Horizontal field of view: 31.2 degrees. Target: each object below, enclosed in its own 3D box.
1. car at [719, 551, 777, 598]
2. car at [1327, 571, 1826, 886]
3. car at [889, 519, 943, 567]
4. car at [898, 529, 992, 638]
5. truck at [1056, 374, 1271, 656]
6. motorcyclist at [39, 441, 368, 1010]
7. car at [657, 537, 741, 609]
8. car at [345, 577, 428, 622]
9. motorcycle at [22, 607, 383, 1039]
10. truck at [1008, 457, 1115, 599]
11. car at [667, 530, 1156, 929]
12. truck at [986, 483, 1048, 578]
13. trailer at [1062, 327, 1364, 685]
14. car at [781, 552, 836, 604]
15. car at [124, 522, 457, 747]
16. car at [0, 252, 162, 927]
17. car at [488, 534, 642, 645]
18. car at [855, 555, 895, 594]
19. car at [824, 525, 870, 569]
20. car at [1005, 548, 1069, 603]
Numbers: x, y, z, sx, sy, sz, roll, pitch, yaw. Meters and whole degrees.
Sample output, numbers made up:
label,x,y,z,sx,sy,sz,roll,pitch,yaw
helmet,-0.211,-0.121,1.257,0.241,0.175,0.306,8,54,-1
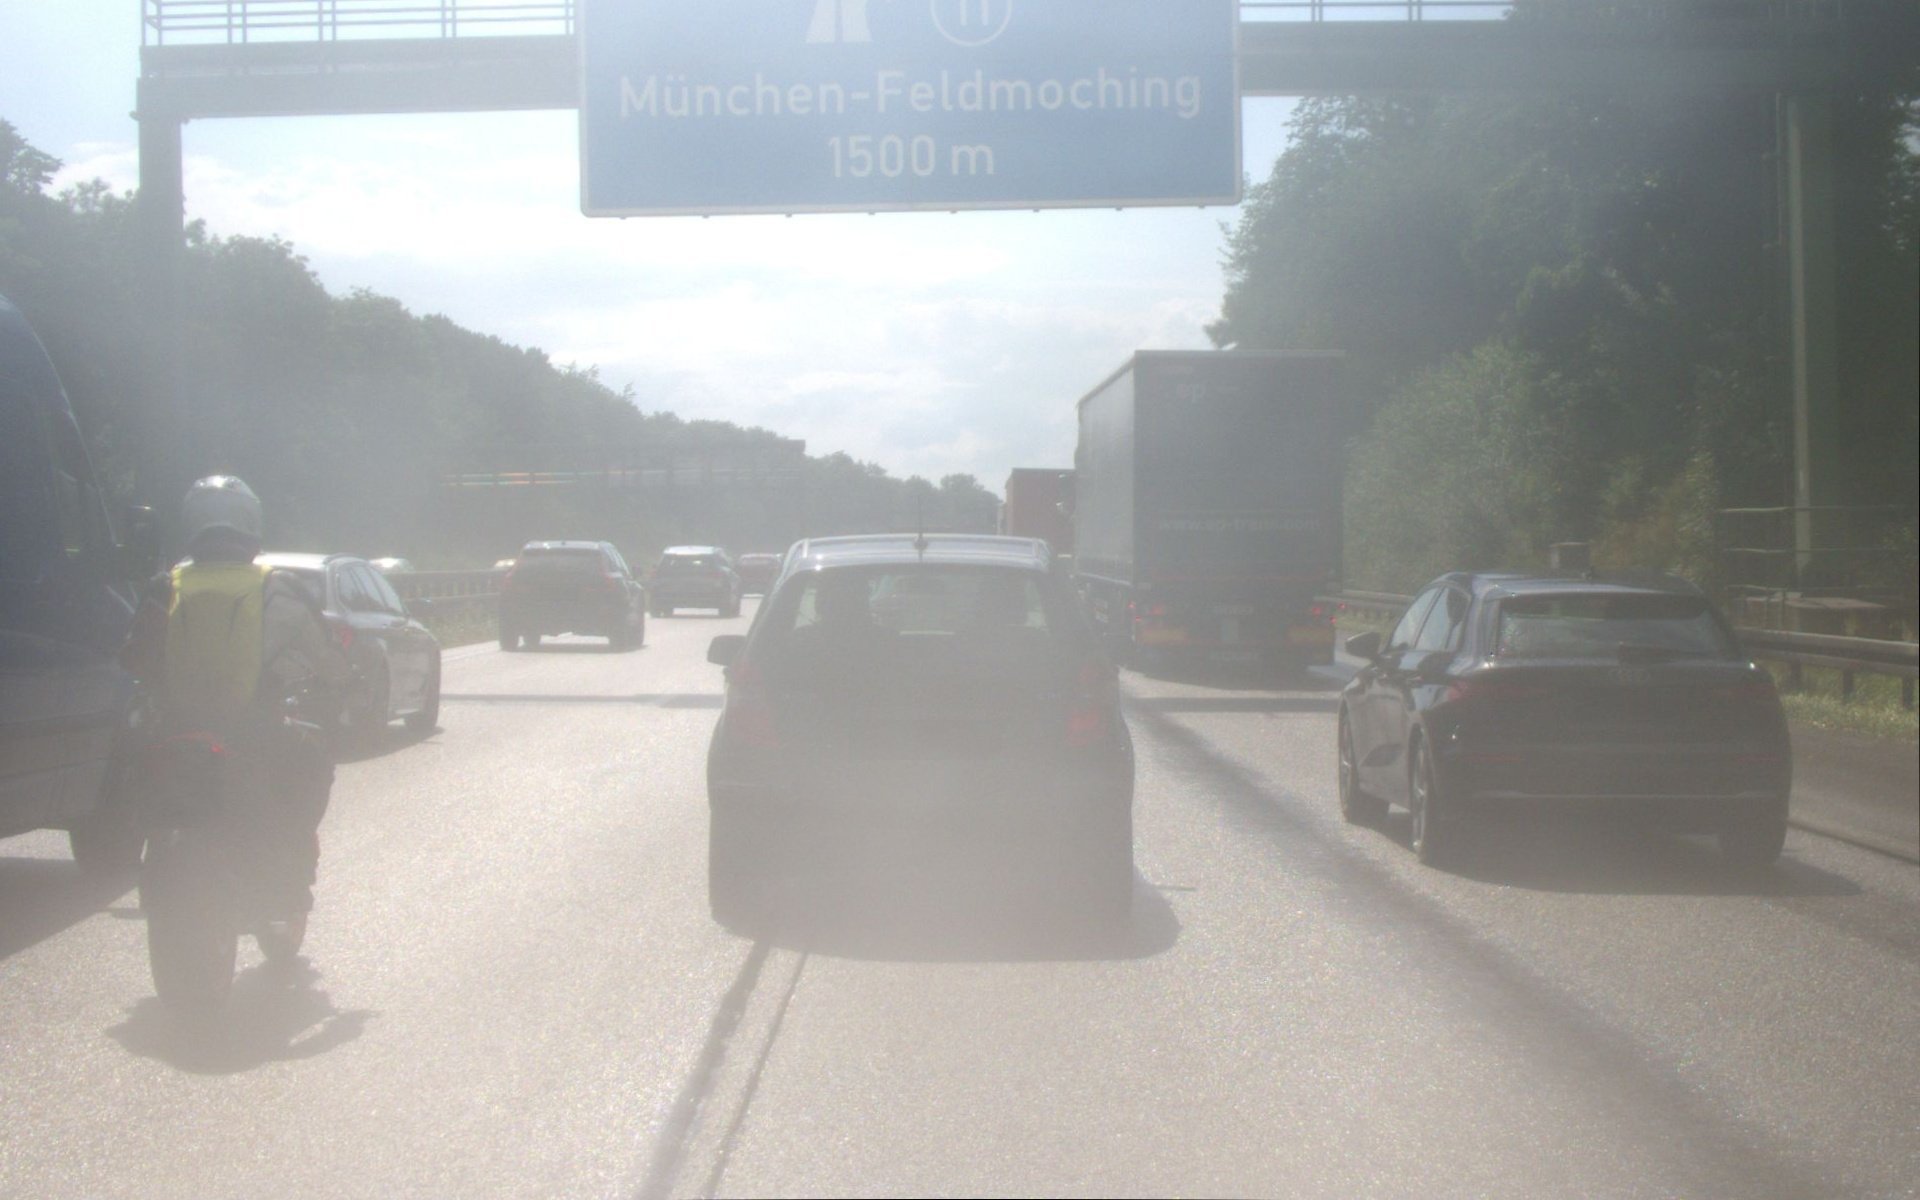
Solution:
label,x,y,z,sx,sy,sz,roll,pitch,yaw
car,-6.823,-0.838,110.968,1.675,1.485,3.437,0,1,0
car,3.032,0.564,17.788,1.755,1.391,4.368,0,1,0
car,-1.362,-1.774,107.182,1.632,1.485,3.437,0,1,0
car,-0.283,-0.323,63.312,1.675,1.929,3.773,0,1,0
truck,3.214,-1.341,55.857,3.052,4.310,5.886,1,1,0
motorcyclist,-2.464,0.384,11.346,0.821,1.754,1.390,1,0,-3
car,-5.971,-0.630,78.848,1.675,1.591,3.437,0,1,0
car,-17.677,-0.028,106.178,1.802,1.332,4.411,1,0,0
motorcycle,-2.467,0.677,11.446,0.819,1.258,2.118,1,1,-3
truck,3.215,-2.311,111.613,3.202,4.389,9.432,0,1,0
car,-0.207,0.481,15.700,1.915,1.560,4.314,0,1,0
truck,2.877,-3.475,176.515,2.882,4.671,12.659,1,0,0
trailer,3.257,-1.231,48.489,3.088,4.298,14.106,0,1,0
car,-6.006,-0.863,136.553,1.993,2.007,4.000,1,0,0
car,-5.087,0.214,26.653,1.758,1.589,4.331,0,1,0
car,-4.761,-0.045,13.344,2.015,2.639,5.777,0,1,0
car,-6.003,-0.190,52.644,1.893,1.622,4.195,0,1,0
car,-4.514,-1.345,182.880,1.993,2.007,4.000,1,0,0
car,-5.213,-2.446,159.239,1.993,2.007,4.000,1,0,0
car,2.118,-0.695,95.581,1.675,1.485,3.437,0,1,0
